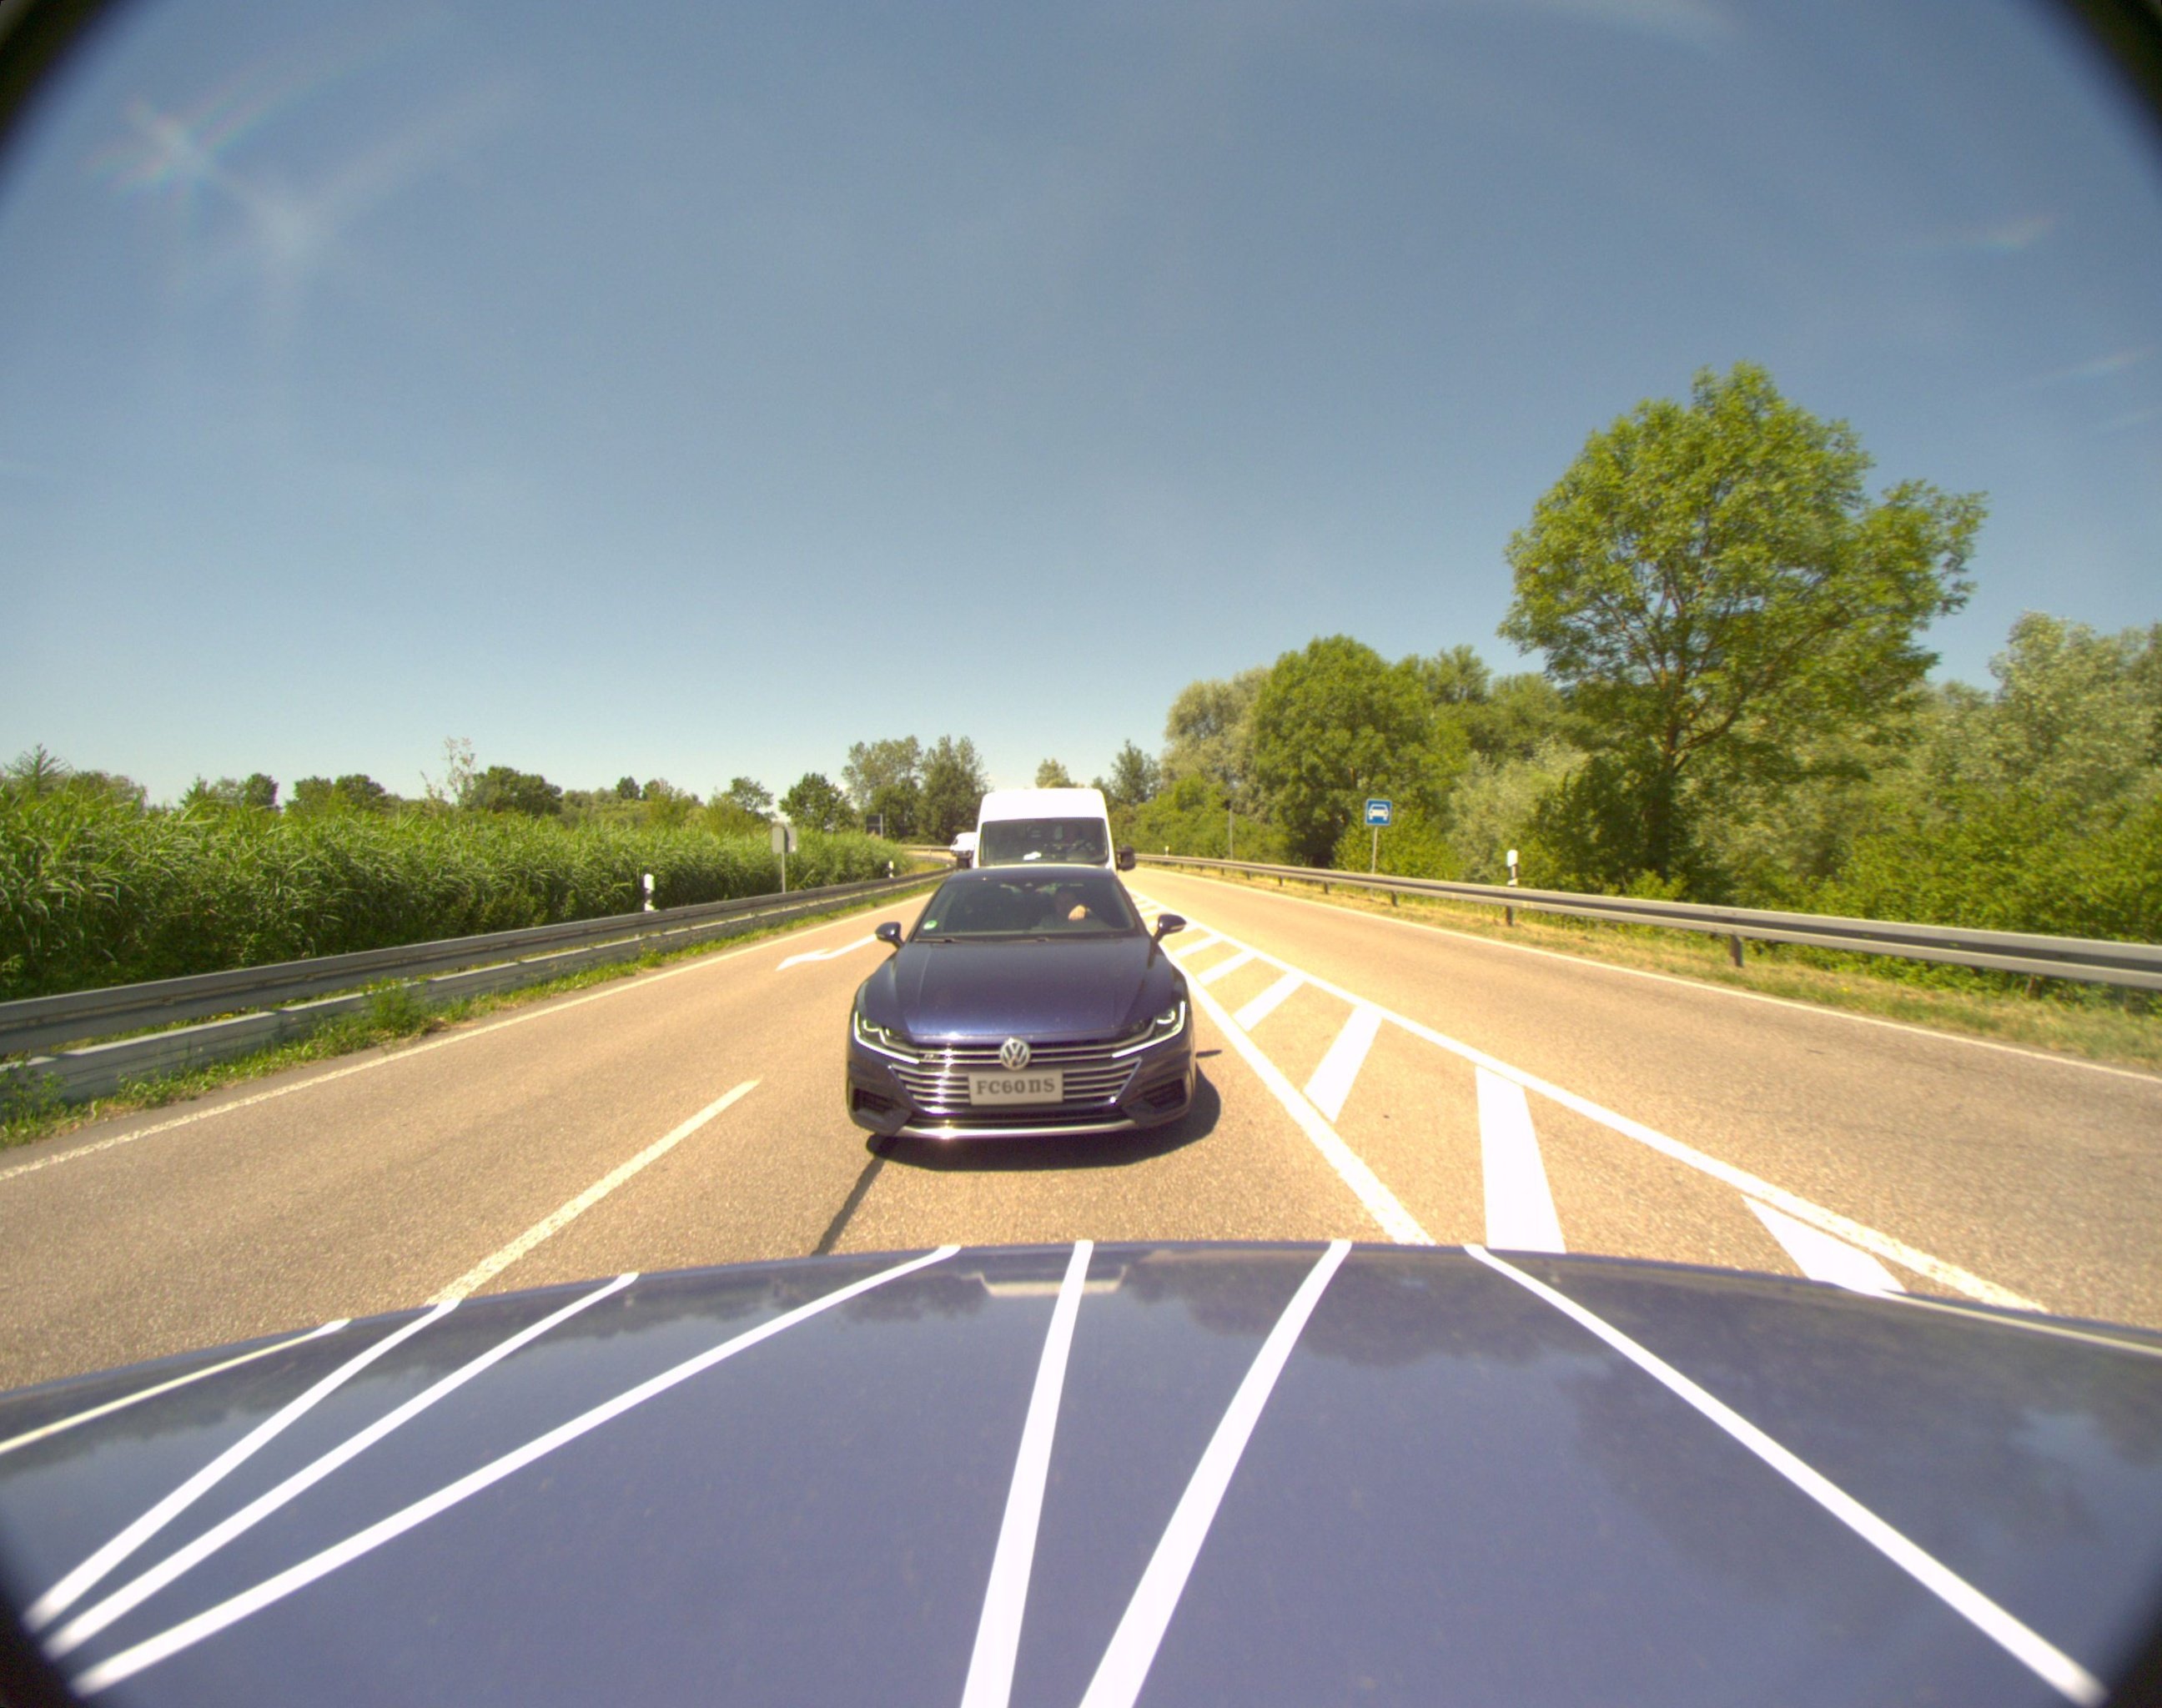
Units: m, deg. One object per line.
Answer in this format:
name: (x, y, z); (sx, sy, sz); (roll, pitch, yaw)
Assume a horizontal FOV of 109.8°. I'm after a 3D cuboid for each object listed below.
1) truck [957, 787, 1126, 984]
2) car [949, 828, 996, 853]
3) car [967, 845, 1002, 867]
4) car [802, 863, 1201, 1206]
truck: (-0.663, 0.352, 12.286); (2.011, 2.365, 5.909); (-2, 1, -4)
car: (-11.421, -1.397, 79.544); (2.003, 2.403, 5.574); (-4, 3, -41)
car: (-7.732, 0.151, 60.598); (1.675, 1.591, 3.546); (-2, 1, -25)
car: (-0.342, 0.874, 5.752); (1.819, 1.454, 4.415); (-2, 1, 1)
